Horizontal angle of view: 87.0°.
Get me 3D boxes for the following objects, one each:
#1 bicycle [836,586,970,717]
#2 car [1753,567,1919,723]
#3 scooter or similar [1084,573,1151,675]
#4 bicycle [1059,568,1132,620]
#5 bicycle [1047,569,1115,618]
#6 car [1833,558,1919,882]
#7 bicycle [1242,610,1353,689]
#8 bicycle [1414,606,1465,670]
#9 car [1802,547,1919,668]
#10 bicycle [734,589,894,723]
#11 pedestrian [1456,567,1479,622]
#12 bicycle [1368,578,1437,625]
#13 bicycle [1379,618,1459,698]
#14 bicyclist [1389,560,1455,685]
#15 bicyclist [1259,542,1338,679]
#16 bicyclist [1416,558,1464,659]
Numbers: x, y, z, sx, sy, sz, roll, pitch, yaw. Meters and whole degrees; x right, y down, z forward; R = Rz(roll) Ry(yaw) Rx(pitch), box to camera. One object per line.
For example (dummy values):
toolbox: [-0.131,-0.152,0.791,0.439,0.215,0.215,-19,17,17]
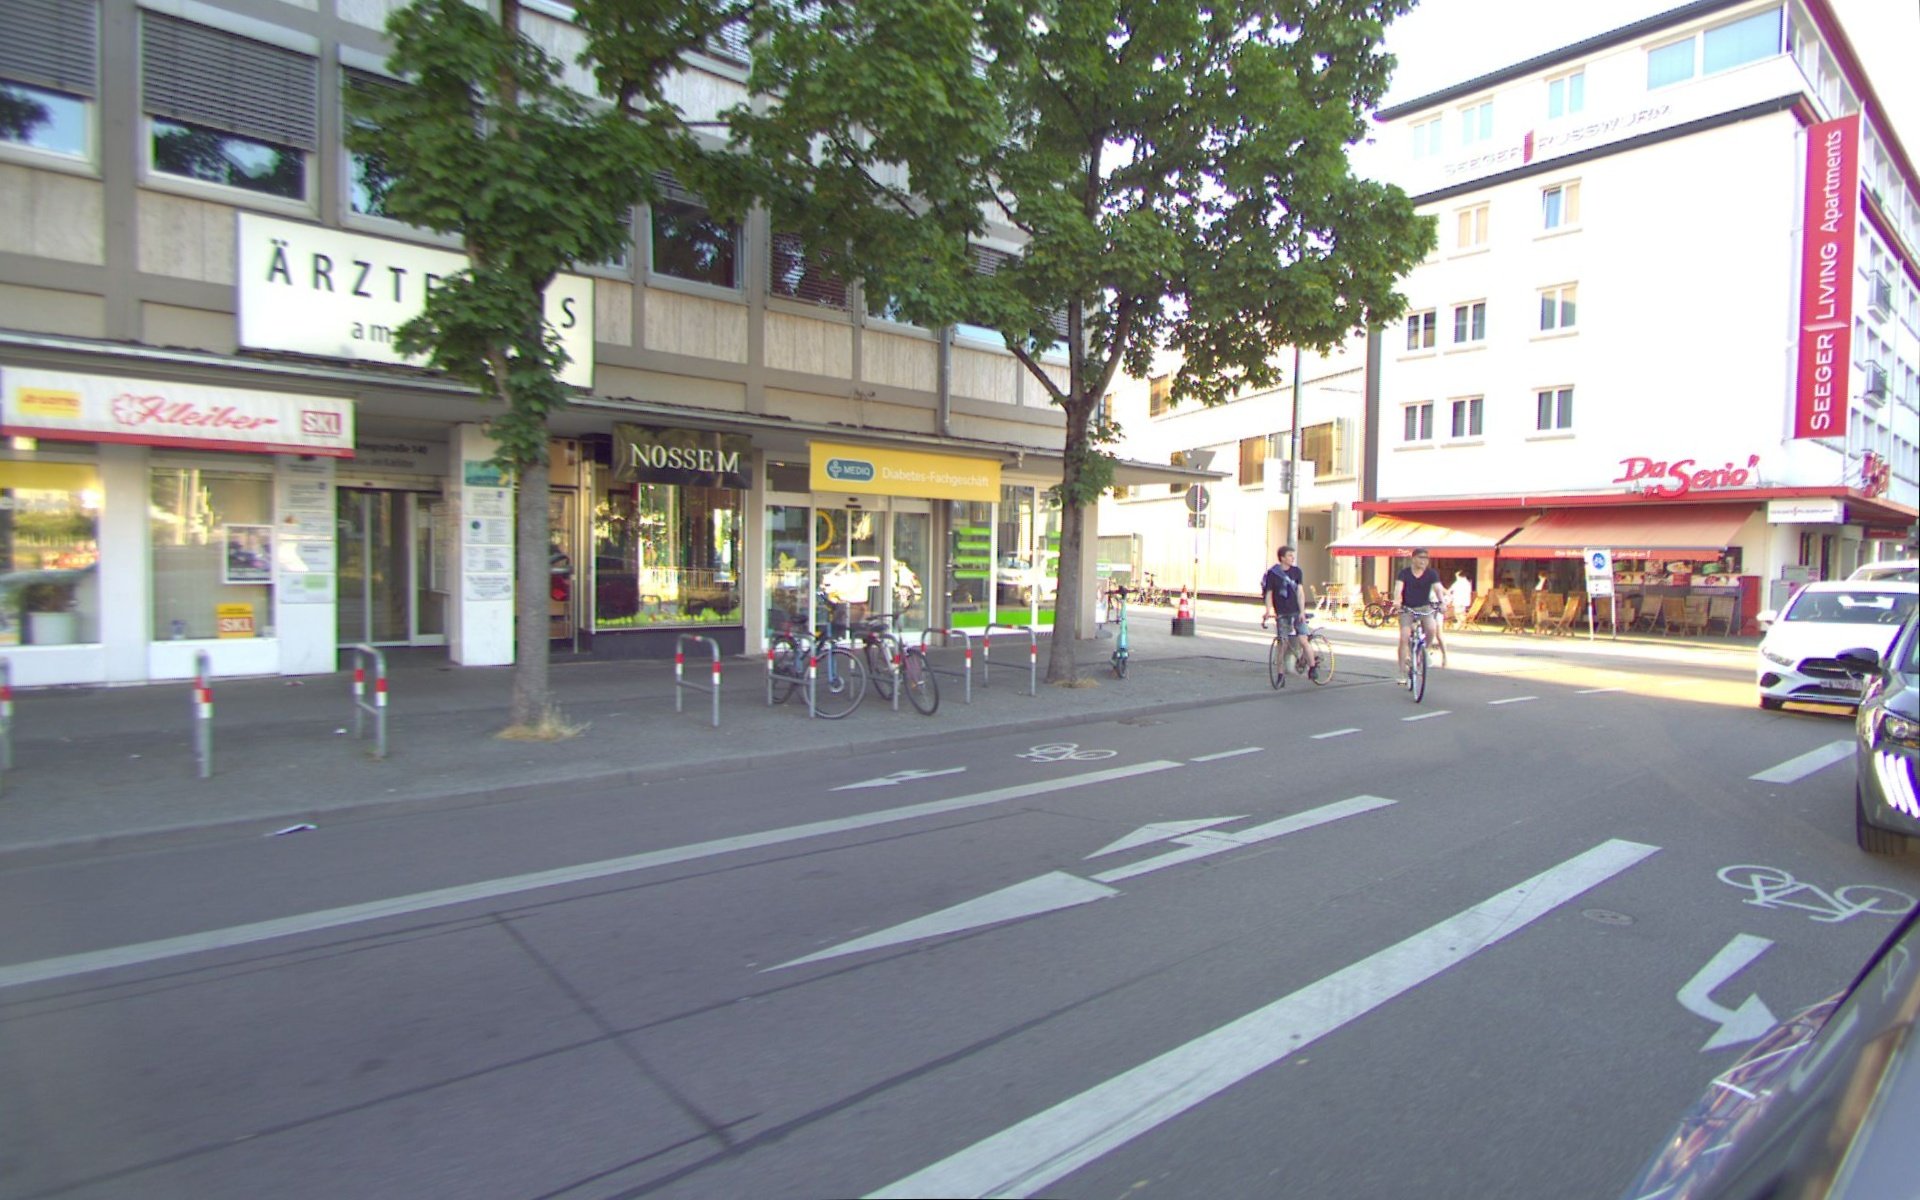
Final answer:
bicycle: [-0.633,0.490,10.676,0.529,1.199,1.636,-1,4,-39]
car: [10.975,0.392,11.838,4.484,1.466,1.815,-3,4,-41]
scooter or similar: [2.172,0.303,14.073,0.504,1.338,1.283,1,2,-10]
bicycle: [3.416,-0.148,25.526,1.743,1.201,0.555,2,1,-23]
bicycle: [3.181,-0.171,26.581,1.682,1.201,0.541,2,1,-23]
car: [6.534,0.541,6.067,1.910,1.522,4.633,3,3,41]
bicycle: [4.493,0.627,13.436,1.662,0.912,0.674,-1,3,-43]
bicycle: [7.306,0.552,15.468,0.593,0.835,1.727,2,3,23]
car: [16.490,0.097,17.062,4.779,1.860,2.003,0,2,-31]
bicycle: [-1.509,0.511,10.236,1.740,1.154,0.656,4,4,43]
pedestrian: [13.823,-0.160,27.577,0.503,1.467,0.503,2,2,23]
bicycle: [11.956,0.019,27.376,0.589,1.180,1.635,-3,4,-34]
bicycle: [5.762,0.690,12.658,0.611,0.835,1.784,2,3,34]
bicyclist: [5.794,0.256,12.683,0.610,1.505,0.709,2,2,35]
bicyclist: [4.484,0.112,13.405,0.797,1.748,0.665,-1,3,-43]
bicyclist: [7.334,0.111,15.481,0.582,1.505,0.713,2,2,23]
